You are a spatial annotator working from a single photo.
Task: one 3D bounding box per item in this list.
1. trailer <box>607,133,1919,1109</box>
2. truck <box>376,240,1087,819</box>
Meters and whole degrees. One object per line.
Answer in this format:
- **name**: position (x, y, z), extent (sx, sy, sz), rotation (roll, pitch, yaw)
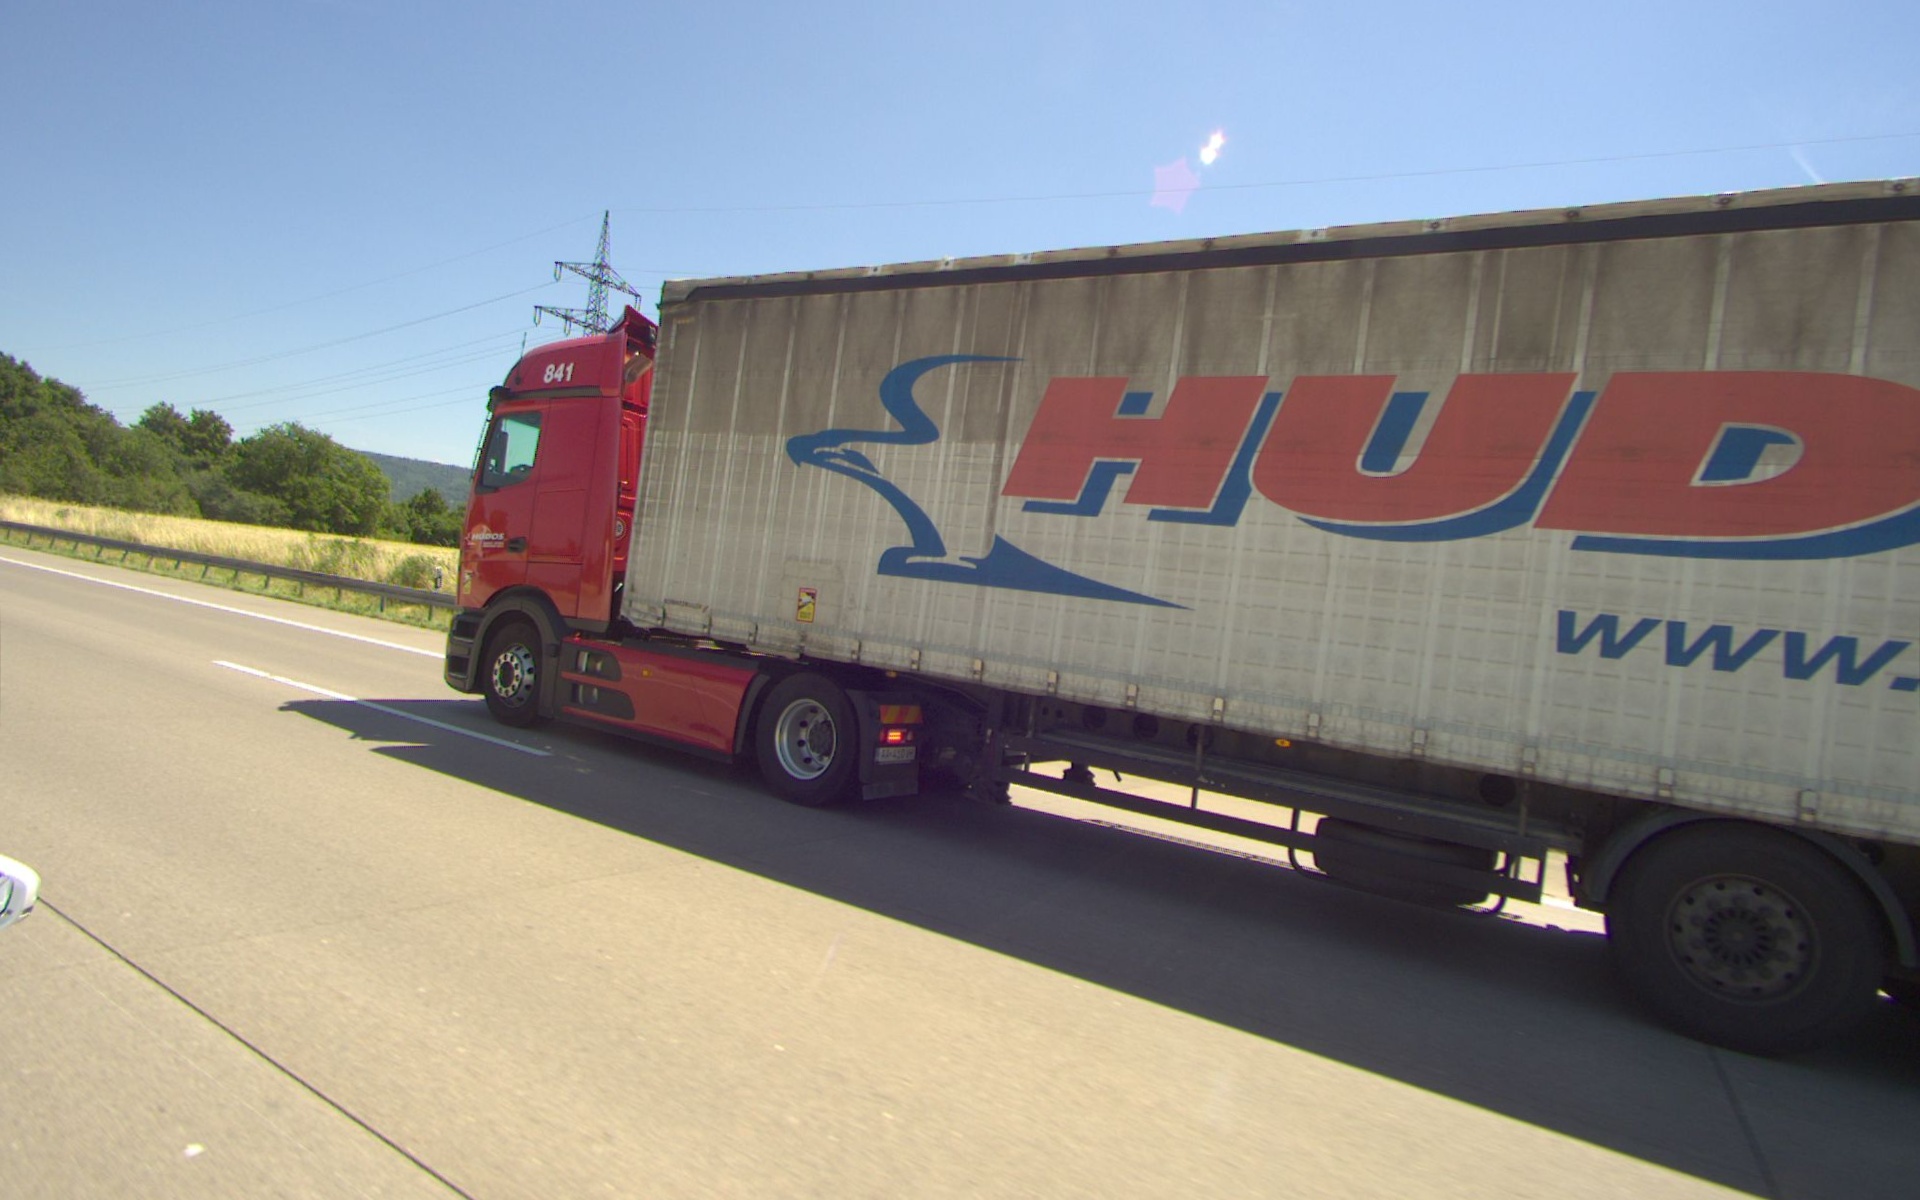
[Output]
- **trailer**: position (3.670, 0.043, 6.222), extent (13.287, 4.148, 2.879), rotation (7, -1, 31)
- **truck**: position (-2.388, -0.672, 9.998), extent (6.167, 4.148, 2.911), rotation (7, -1, 31)
